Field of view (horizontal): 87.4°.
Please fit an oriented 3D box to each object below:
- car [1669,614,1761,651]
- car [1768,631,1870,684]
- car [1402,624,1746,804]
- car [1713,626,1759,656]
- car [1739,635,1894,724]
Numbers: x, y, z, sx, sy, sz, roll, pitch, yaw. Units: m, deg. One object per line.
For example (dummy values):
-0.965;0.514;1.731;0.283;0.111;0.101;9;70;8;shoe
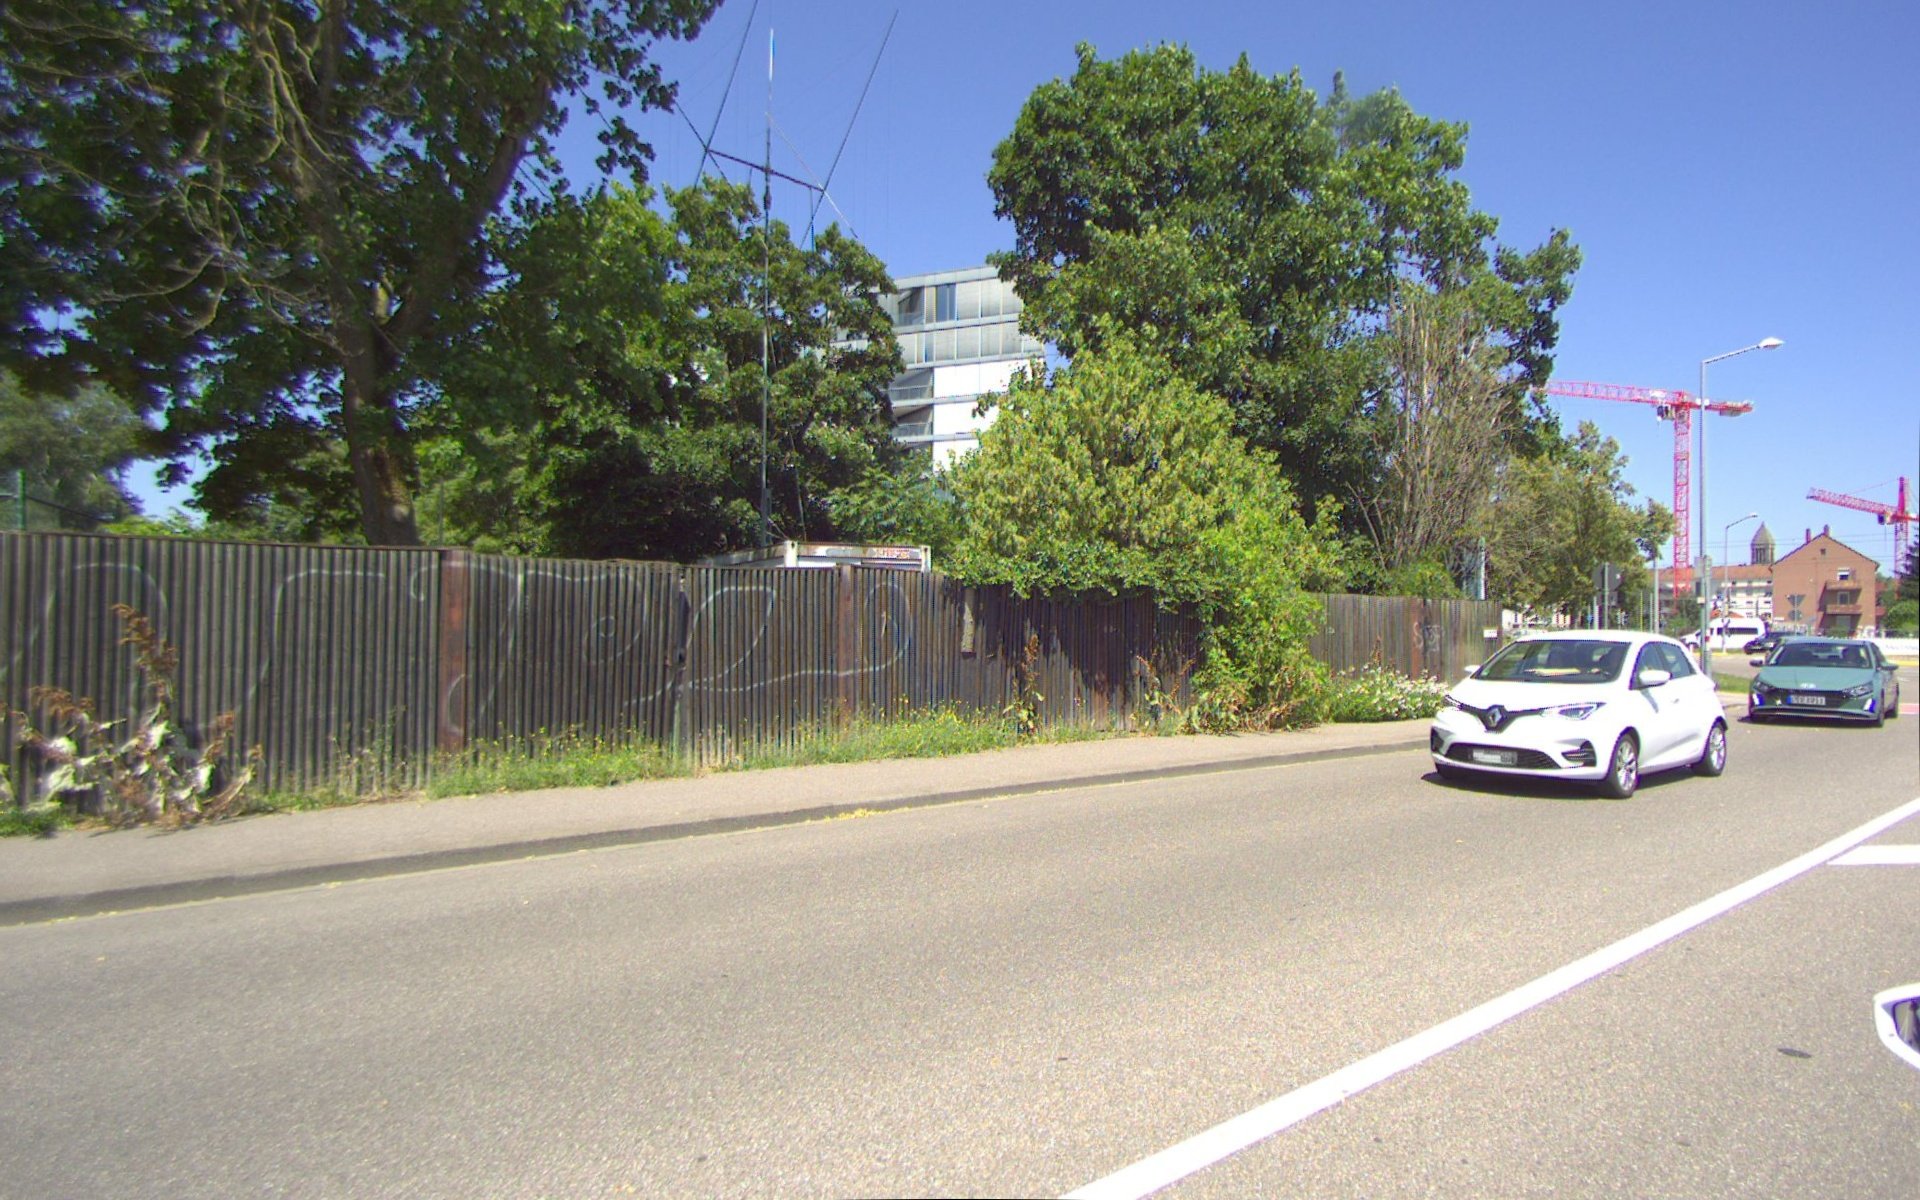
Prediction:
54.761;2.325;73.008;5.242;2.429;1.987;2;0;37;car
26.361;1.716;30.956;1.703;1.421;4.261;2;0;32;car
6.507;1.037;10.533;3.835;1.547;1.763;1;-2;-36;car
47.234;2.481;61.134;1.732;1.728;3.975;2;0;44;car
15.548;1.342;18.157;4.302;1.390;1.729;2;-2;-44;car
